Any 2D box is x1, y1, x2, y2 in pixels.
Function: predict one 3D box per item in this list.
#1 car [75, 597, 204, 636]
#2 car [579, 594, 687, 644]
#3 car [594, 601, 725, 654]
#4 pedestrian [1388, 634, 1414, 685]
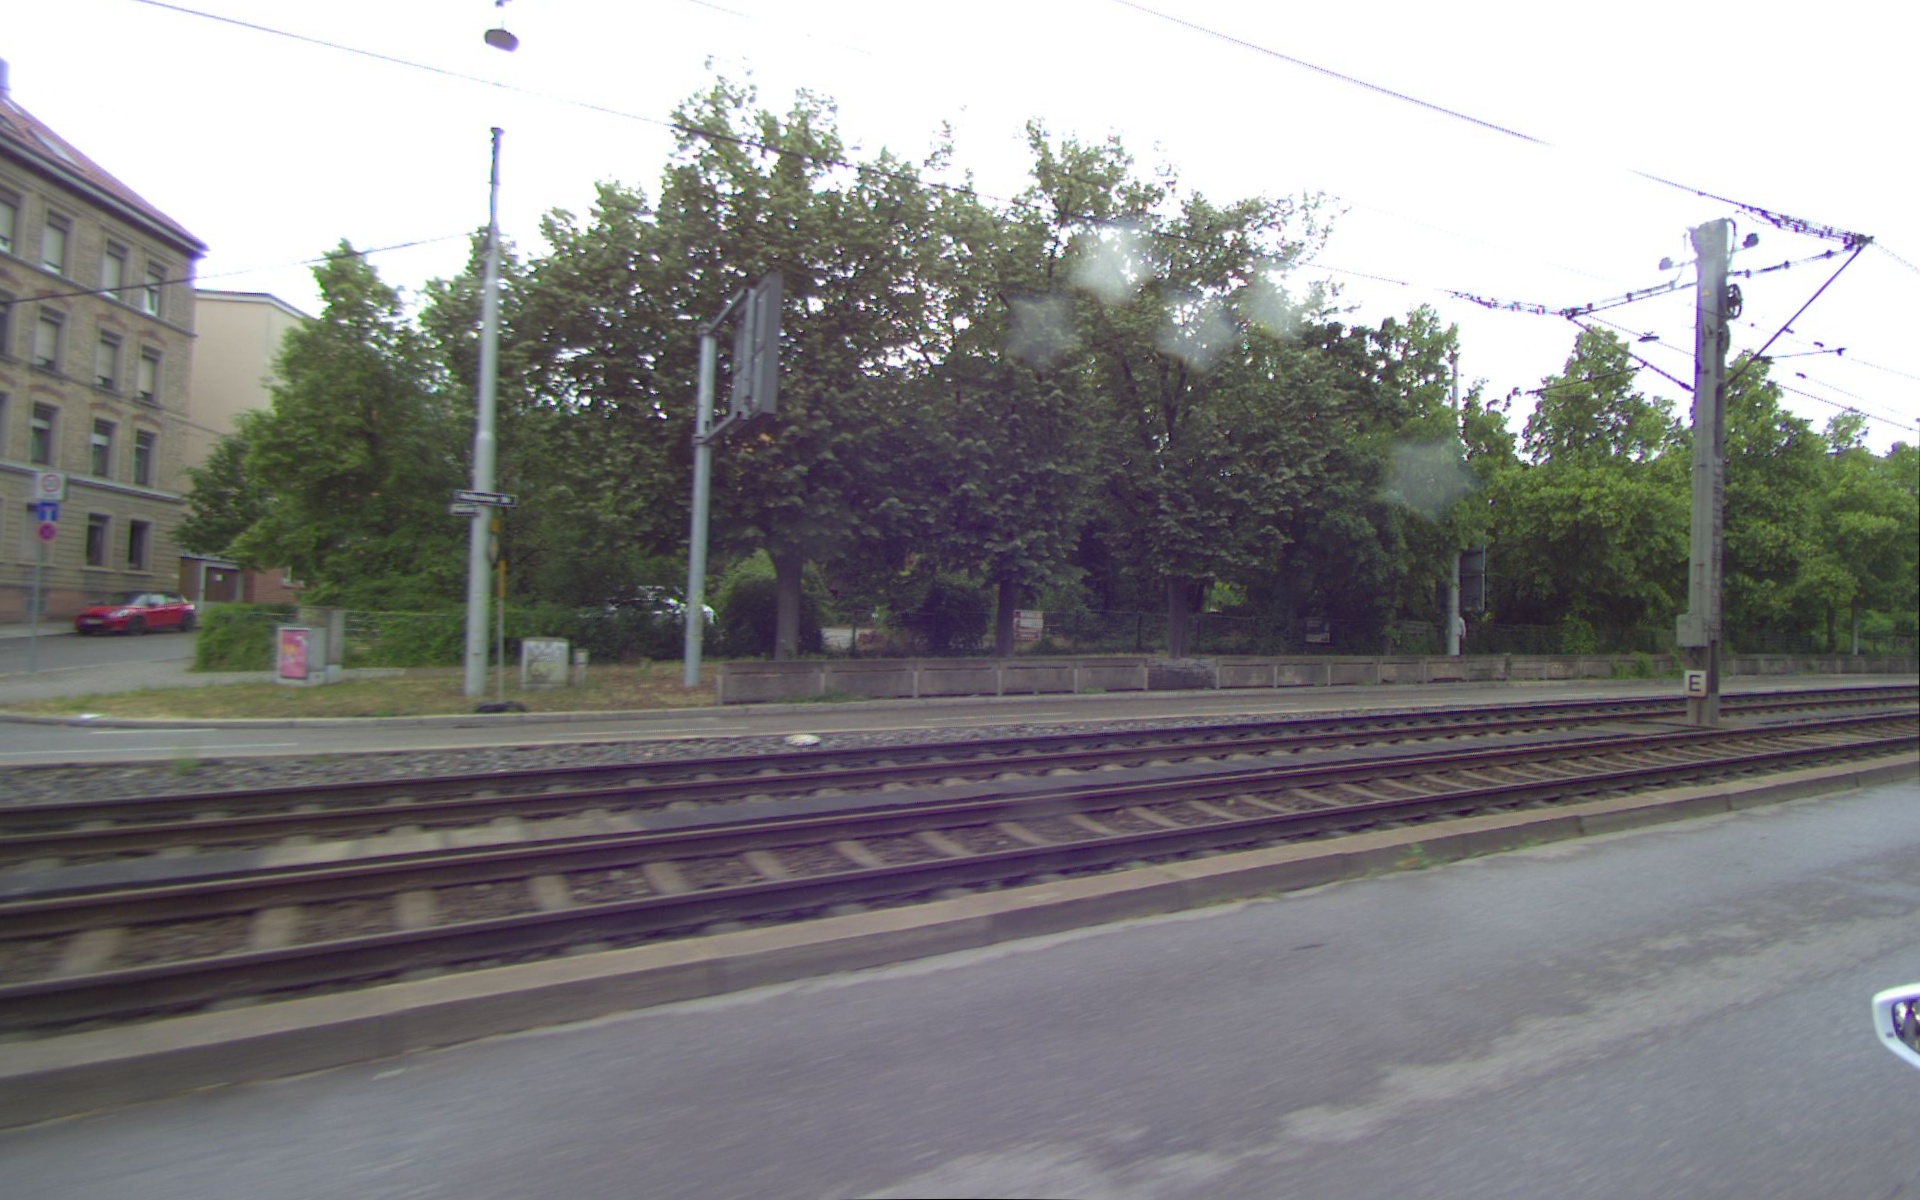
[{"bbox_3d":[-27.978,0.562,34.410,1.697,1.221,3.673,1,-1,-8],"label":"car"},{"bbox_3d":[-13.310,0.789,41.075,3.929,1.933,1.996,1,-1,-11],"label":"car"},{"bbox_3d":[-9.926,0.900,33.478,3.929,1.643,1.996,2,0,-11],"label":"car"},{"bbox_3d":[17.094,2.305,38.928,0.646,1.928,0.592,2,0,-31],"label":"pedestrian"}]
